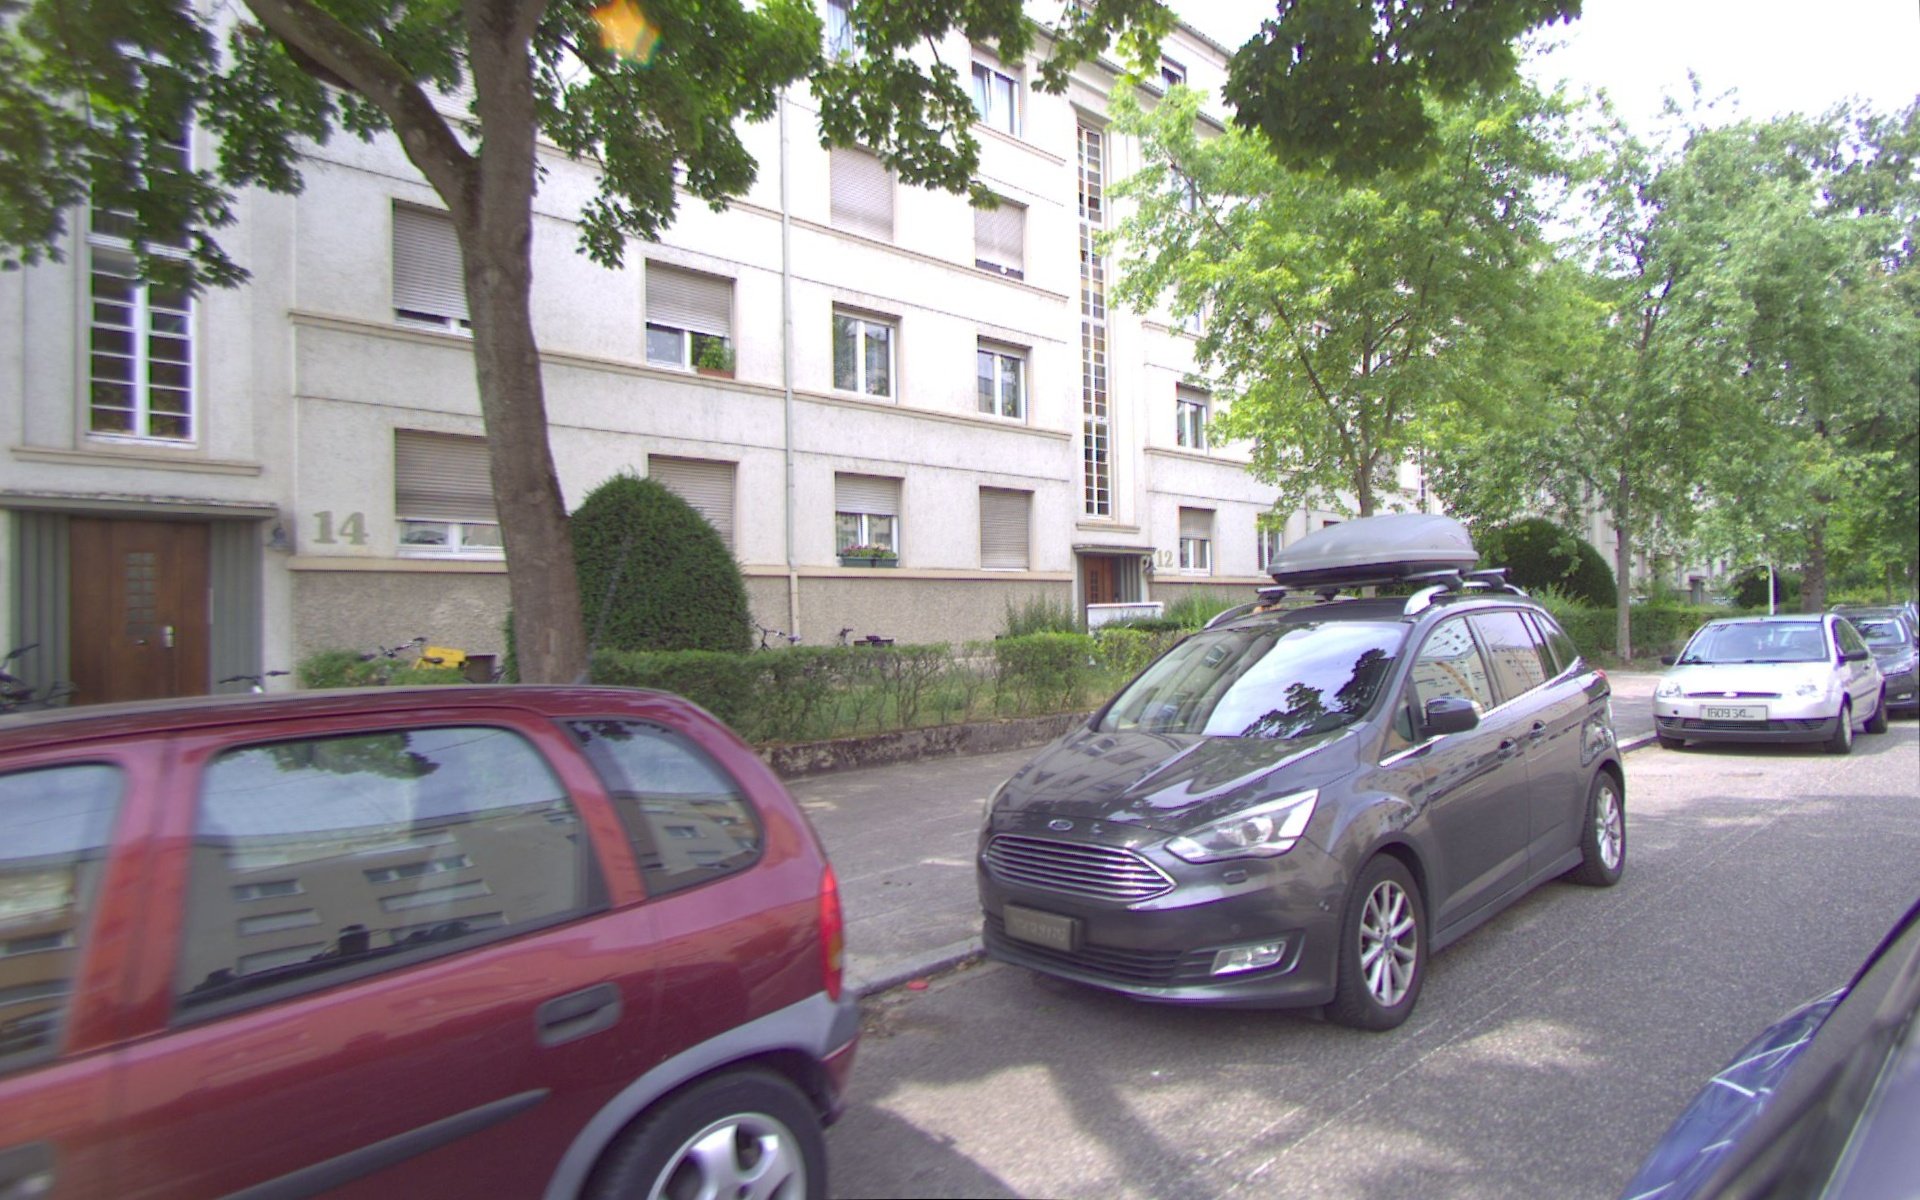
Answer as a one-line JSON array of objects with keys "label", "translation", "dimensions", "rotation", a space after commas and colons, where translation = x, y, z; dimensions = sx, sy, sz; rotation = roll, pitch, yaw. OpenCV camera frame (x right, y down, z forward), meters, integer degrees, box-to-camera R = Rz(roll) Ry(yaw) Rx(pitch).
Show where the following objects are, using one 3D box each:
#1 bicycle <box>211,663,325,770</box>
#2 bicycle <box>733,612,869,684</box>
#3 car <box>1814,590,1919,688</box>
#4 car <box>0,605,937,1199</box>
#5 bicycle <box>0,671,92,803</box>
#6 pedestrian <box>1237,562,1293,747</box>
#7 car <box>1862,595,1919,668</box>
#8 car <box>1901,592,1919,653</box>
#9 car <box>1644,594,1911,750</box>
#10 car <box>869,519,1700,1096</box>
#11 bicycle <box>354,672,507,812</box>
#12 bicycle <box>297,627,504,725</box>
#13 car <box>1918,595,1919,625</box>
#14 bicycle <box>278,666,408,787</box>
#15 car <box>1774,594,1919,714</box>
[{"label": "bicycle", "translation": [-6.753, 1.100, 9.862], "dimensions": [1.380, 0.929, 0.507], "rotation": [-1, -2, 37]}, {"label": "bicycle", "translation": [-2.626, 0.774, 16.889], "dimensions": [2.208, 1.126, 0.710], "rotation": [1, -2, -41]}, {"label": "car", "translation": [16.847, 0.645, 18.231], "dimensions": [4.214, 1.603, 1.660], "rotation": [-1, -3, -43]}, {"label": "car", "translation": [-2.092, 0.820, 1.759], "dimensions": [3.934, 1.484, 1.713], "rotation": [-1, -3, -43]}, {"label": "bicycle", "translation": [-7.590, 1.075, 8.243], "dimensions": [1.380, 0.929, 0.507], "rotation": [-1, -2, 37]}, {"label": "pedestrian", "translation": [3.158, 0.547, 10.469], "dimensions": [0.517, 1.851, 0.521], "rotation": [-1, -1, 19]}, {"label": "car", "translation": [21.105, 0.661, 22.117], "dimensions": [3.822, 1.488, 1.661], "rotation": [1, -2, -42]}, {"label": "car", "translation": [25.252, 0.555, 25.697], "dimensions": [3.661, 1.488, 1.661], "rotation": [1, -2, -42]}, {"label": "car", "translation": [9.522, 0.719, 11.685], "dimensions": [3.965, 1.475, 1.661], "rotation": [-1, -2, -41]}, {"label": "car", "translation": [2.188, 0.637, 5.484], "dimensions": [5.235, 1.683, 1.928], "rotation": [-1, -3, -43]}, {"label": "bicycle", "translation": [-4.101, 1.049, 7.807], "dimensions": [1.380, 0.929, 0.507], "rotation": [-1, -2, 37]}, {"label": "bicycle", "translation": [-7.090, 0.923, 12.910], "dimensions": [2.208, 1.126, 0.710], "rotation": [1, -2, -41]}, {"label": "car", "translation": [29.474, 0.544, 29.331], "dimensions": [4.530, 1.488, 1.783], "rotation": [-1, -2, -38]}, {"label": "bicycle", "translation": [-5.447, 1.076, 8.914], "dimensions": [1.380, 0.929, 0.507], "rotation": [-1, -2, 37]}, {"label": "car", "translation": [13.182, 0.688, 14.605], "dimensions": [4.318, 1.488, 1.618], "rotation": [0, -2, -44]}]
